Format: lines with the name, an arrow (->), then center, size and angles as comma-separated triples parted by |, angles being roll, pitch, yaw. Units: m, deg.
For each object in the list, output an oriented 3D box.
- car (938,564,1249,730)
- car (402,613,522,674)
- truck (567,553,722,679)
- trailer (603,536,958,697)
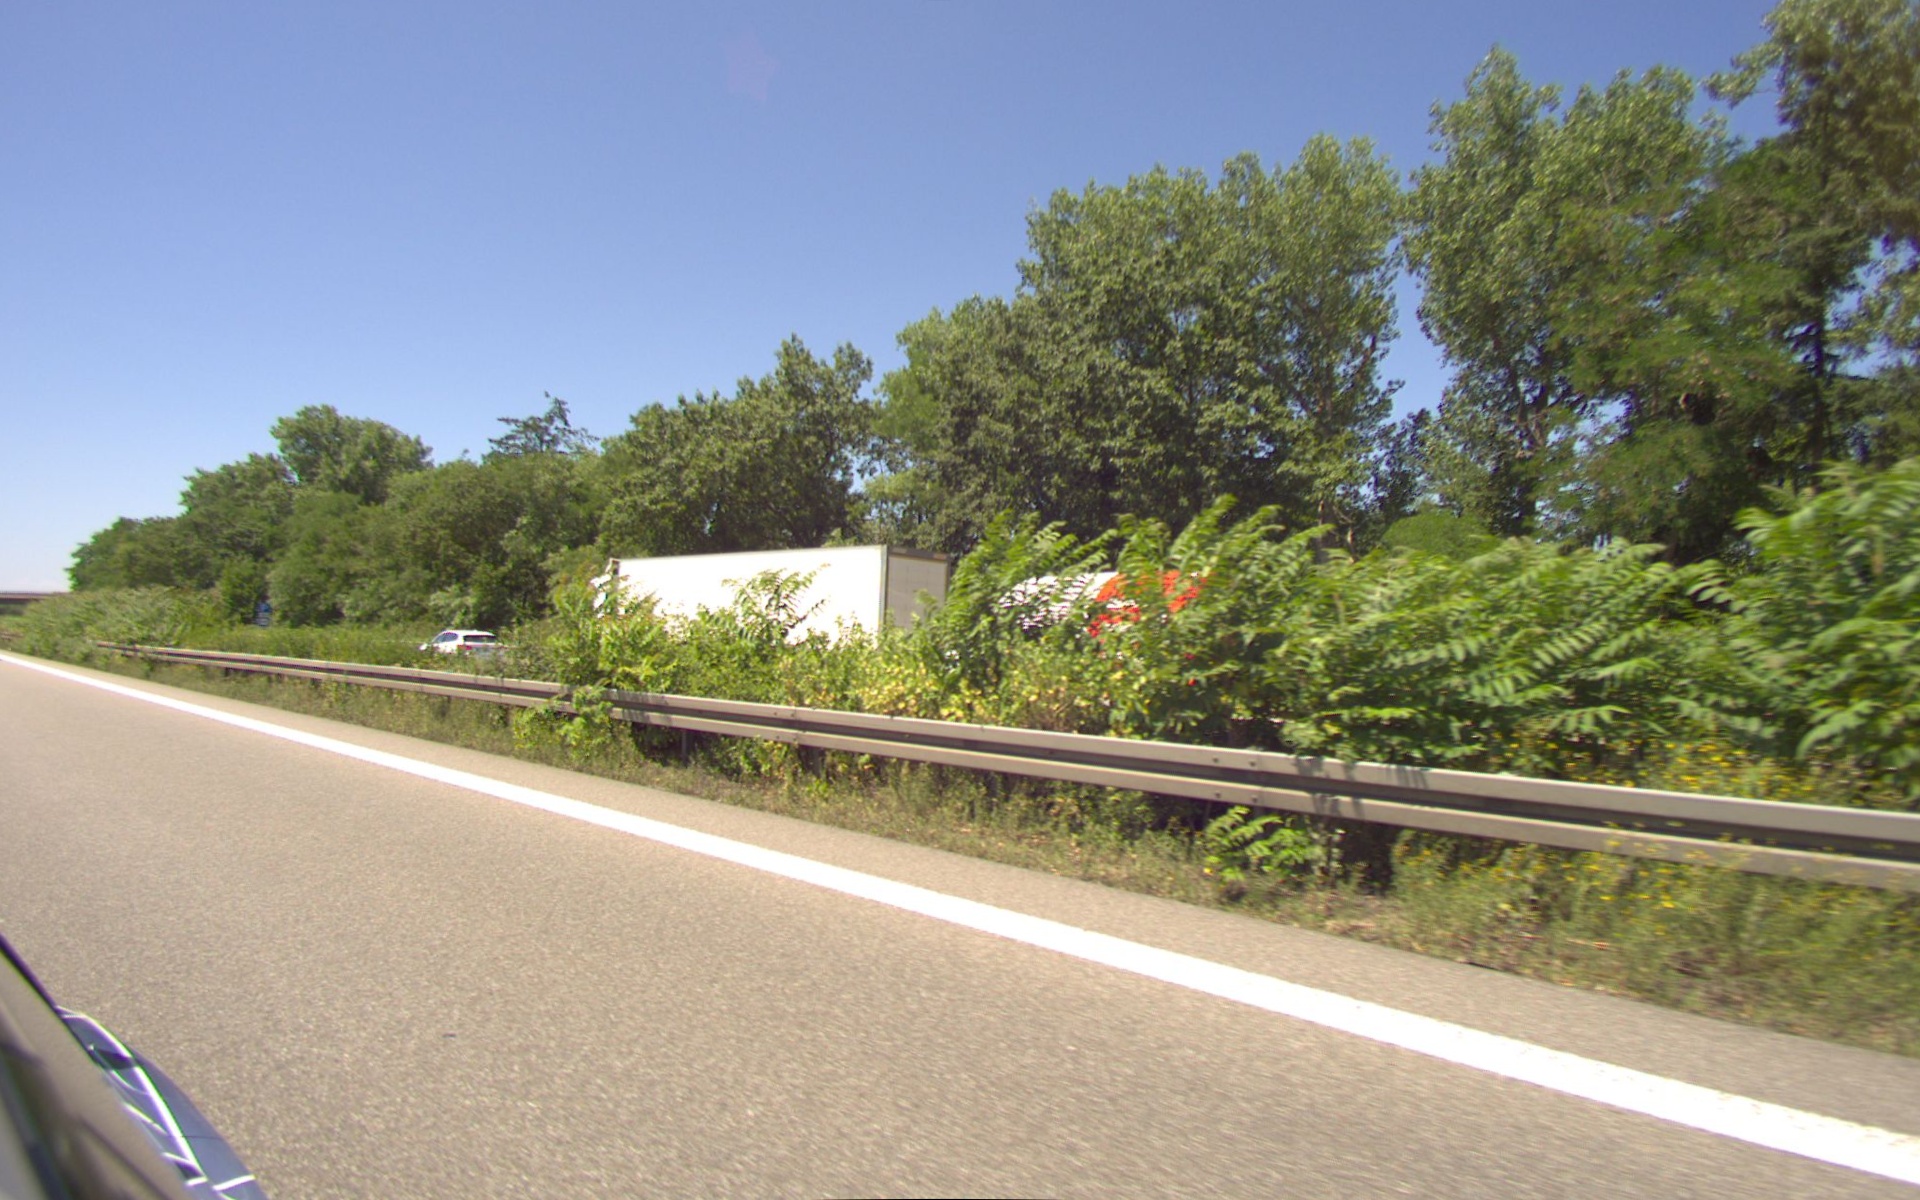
car -> 2.205, 0.759, 17.691 | 5.084, 2.485, 2.102 | -1, -2, 41
car -> -18.086, 1.521, 36.640 | 5.084, 2.070, 2.102 | -1, -2, 41
truck -> -11.294, 0.626, 35.966 | 5.859, 4.121, 2.458 | -1, -4, 42
trailer -> -6.238, 0.553, 31.458 | 14.241, 4.121, 2.510 | -1, -3, 42
